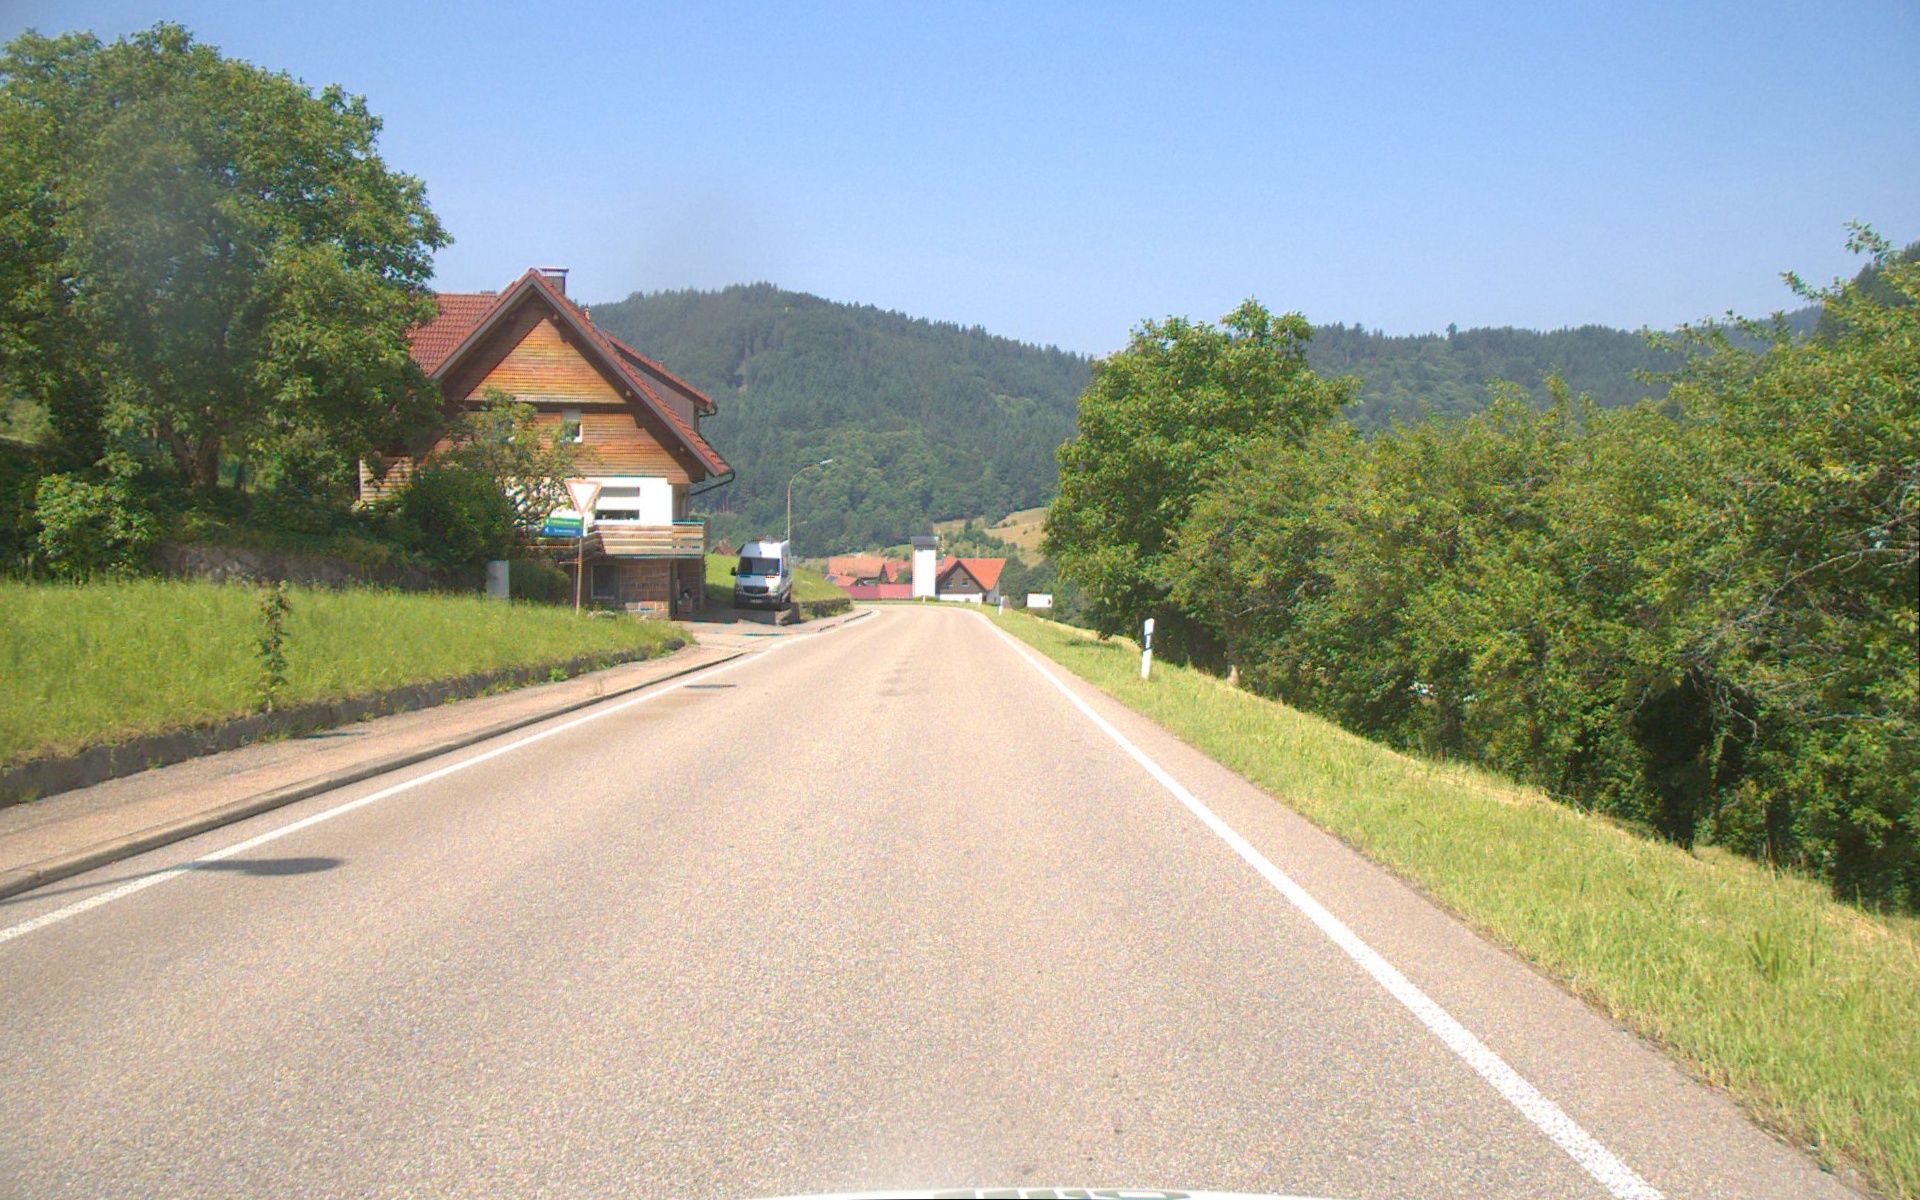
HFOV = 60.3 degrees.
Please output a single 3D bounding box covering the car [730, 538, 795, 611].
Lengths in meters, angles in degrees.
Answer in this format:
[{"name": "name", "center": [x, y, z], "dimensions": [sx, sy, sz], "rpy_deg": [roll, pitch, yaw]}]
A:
[{"name": "car", "center": [-8.262, -1.145, 69.677], "dimensions": [2.025, 2.734, 7.175], "rpy_deg": [0, 3, -1]}]
